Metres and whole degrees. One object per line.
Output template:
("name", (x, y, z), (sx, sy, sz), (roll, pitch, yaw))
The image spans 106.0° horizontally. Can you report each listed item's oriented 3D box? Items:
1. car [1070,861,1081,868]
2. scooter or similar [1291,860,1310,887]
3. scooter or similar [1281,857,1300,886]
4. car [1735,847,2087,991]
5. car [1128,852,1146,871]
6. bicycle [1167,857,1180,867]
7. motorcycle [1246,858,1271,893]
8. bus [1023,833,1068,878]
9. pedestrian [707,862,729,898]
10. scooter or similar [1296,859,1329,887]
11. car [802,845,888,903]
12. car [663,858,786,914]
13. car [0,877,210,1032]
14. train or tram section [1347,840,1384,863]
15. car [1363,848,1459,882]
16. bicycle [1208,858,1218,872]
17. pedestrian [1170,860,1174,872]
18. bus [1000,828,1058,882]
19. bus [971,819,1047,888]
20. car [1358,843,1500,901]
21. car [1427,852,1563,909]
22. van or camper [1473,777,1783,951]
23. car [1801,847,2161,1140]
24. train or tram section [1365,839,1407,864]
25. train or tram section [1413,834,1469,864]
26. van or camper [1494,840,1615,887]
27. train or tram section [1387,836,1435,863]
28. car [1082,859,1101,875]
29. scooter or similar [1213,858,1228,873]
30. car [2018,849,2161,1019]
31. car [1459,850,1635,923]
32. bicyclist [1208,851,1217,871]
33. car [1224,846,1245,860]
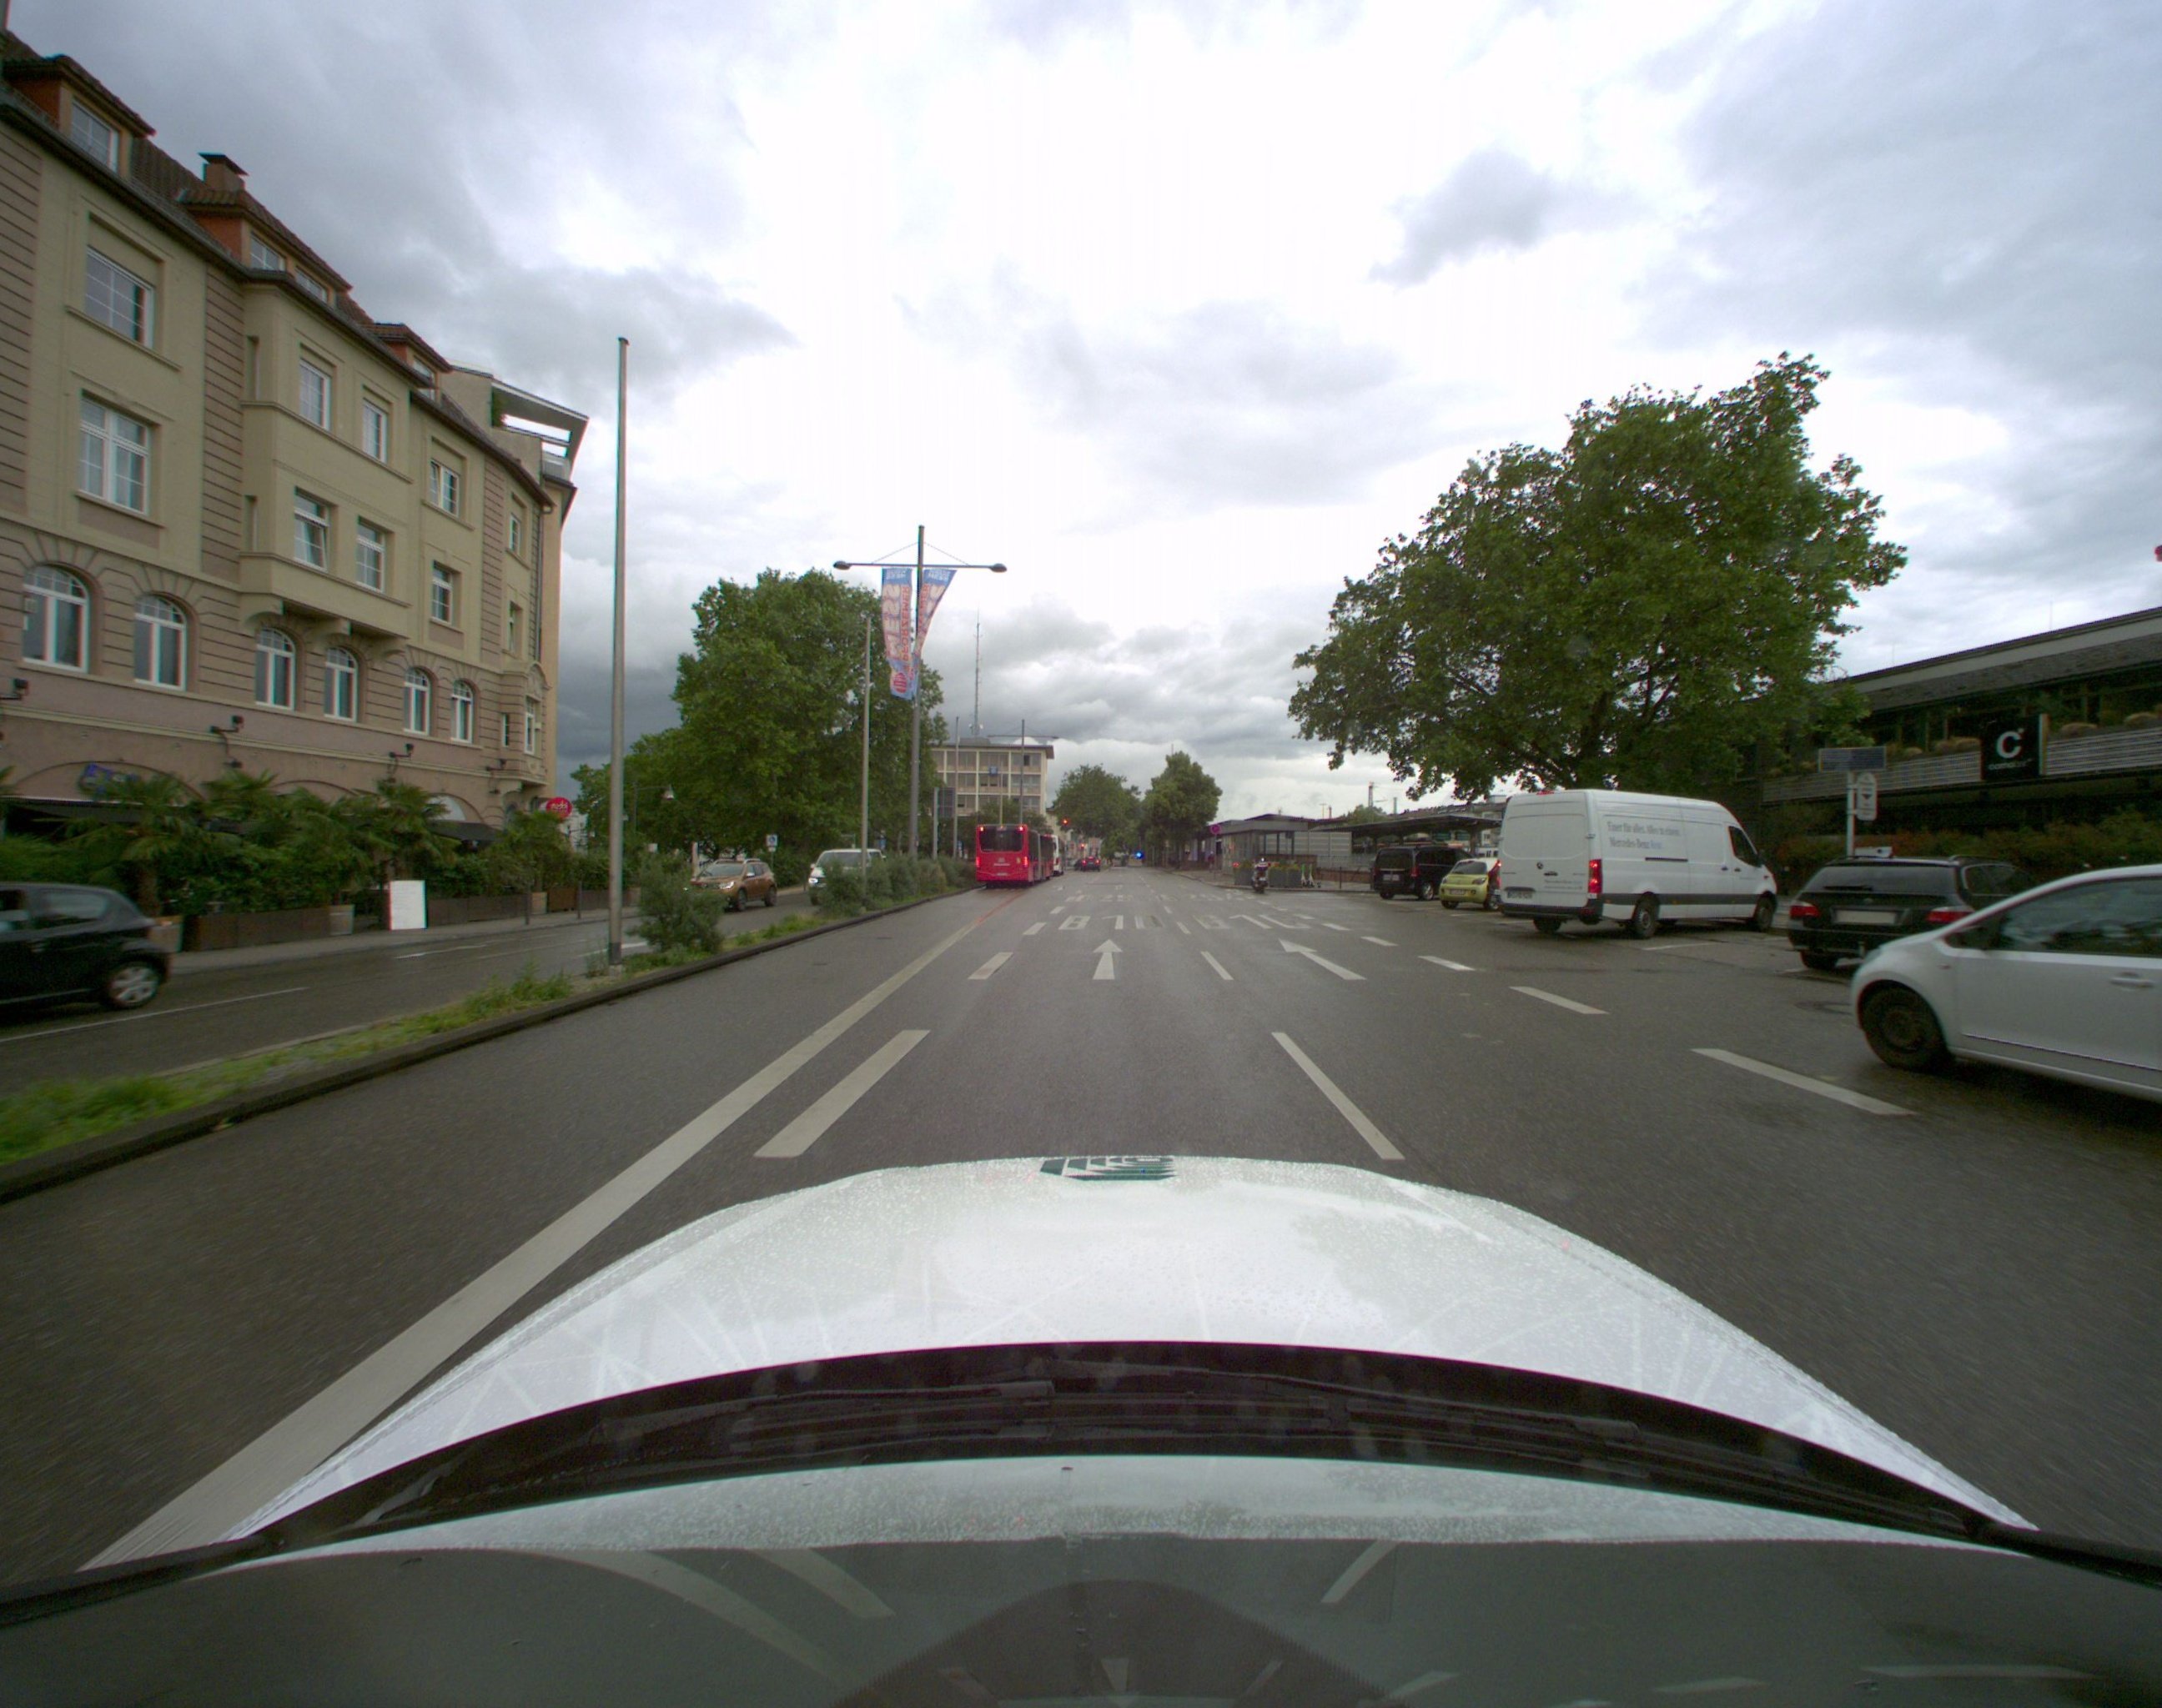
("car", (-1.070, 2.097, 156.868), (1.683, 1.297, 4.097), (1, -1, 5))
("scooter or similar", (9.635, 0.844, 35.738), (0.409, 1.155, 1.271), (2, 0, 33))
("scooter or similar", (9.268, 0.772, 35.980), (0.409, 1.155, 1.271), (2, 4, 33))
("car", (10.627, 0.677, 10.389), (4.480, 1.471, 1.903), (-1, 0, -27))
("car", (8.066, 1.134, 117.784), (2.256, 2.656, 4.000), (-1, 0, 1))
("bicycle", (12.747, 1.091, 112.472), (1.703, 1.249, 0.489), (-2, -1, 34))
("motorcycle", (7.232, 0.848, 33.199), (0.640, 1.352, 2.110), (-1, 0, 3))
("bus", (-2.795, 0.134, 68.046), (2.945, 3.439, 12.561), (-1, 0, 1))
("pedestrian", (-16.045, 1.138, 36.013), (0.689, 1.529, 0.725), (-1, 0, -10))
("scooter or similar", (10.250, 0.823, 36.145), (1.060, 1.155, 1.668), (2, 0, 3))
("car", (-8.695, 0.692, 30.462), (1.916, 1.974, 4.852), (-1, 0, -2))
("car", (-11.569, 0.977, 26.783), (1.985, 1.680, 4.106), (-1, 0, 4))
("car", (-11.170, 1.001, 7.816), (1.623, 1.432, 3.758), (-1, 0, -2))
("train or tram section", (43.187, -0.277, 123.916), (2.644, 3.282, 8.765), (-2, -1, 1))
("car", (18.968, 0.626, 46.969), (4.672, 1.874, 2.107), (-1, 0, -2))
("bicycle", (10.384, 0.873, 64.227), (0.444, 1.016, 1.677), (-3, -1, 0))
("pedestrian", (12.528, 1.637, 112.084), (0.452, 1.569, 0.396), (-2, -1, 34))
("bus", (-3.222, 0.075, 52.942), (2.741, 3.132, 8.849), (-1, 0, 3))
("bus", (-3.613, -0.017, 43.584), (2.799, 3.245, 9.918), (-1, 0, 2))
("car", (12.333, 0.579, 28.798), (4.710, 1.874, 2.090), (-1, 0, -27))
("car", (12.018, 0.727, 23.652), (3.598, 1.524, 1.747), (-1, 0, -27))
("van or camper", (10.873, 0.140, 16.035), (6.547, 2.869, 2.259), (-1, 0, -28))
("car", (6.317, 0.703, 4.507), (1.650, 1.474, 3.592), (-1, 0, 4))
("train or tram section", (42.947, -0.327, 114.957), (2.644, 3.282, 9.136), (-2, -1, 1))
("train or tram section", (42.570, -0.477, 96.691), (2.644, 3.282, 9.522), (-2, -1, 1))
("van or camper", (21.186, 0.433, 36.595), (4.264, 1.990, 2.021), (-1, 0, 0))
("train or tram section", (42.756, -0.487, 105.909), (2.644, 3.282, 9.136), (-2, -1, 1))
("car", (1.111, 1.369, 86.560), (1.957, 1.640, 4.359), (-1, -1, 1))
("scooter or similar", (11.301, 0.927, 66.185), (0.494, 1.153, 1.705), (0, -1, -17))
("car", (10.691, 0.658, 7.574), (3.698, 1.399, 1.764), (-1, 0, -27))
("car", (11.815, 0.756, 20.632), (4.246, 1.634, 1.867), (-1, 0, -27))
("bicyclist", (10.355, 0.519, 64.197), (0.532, 1.538, 0.694), (-2, -1, 0))
("car", (20.051, -0.108, 106.658), (1.986, 1.871, 4.598), (-1, 0, 1))
